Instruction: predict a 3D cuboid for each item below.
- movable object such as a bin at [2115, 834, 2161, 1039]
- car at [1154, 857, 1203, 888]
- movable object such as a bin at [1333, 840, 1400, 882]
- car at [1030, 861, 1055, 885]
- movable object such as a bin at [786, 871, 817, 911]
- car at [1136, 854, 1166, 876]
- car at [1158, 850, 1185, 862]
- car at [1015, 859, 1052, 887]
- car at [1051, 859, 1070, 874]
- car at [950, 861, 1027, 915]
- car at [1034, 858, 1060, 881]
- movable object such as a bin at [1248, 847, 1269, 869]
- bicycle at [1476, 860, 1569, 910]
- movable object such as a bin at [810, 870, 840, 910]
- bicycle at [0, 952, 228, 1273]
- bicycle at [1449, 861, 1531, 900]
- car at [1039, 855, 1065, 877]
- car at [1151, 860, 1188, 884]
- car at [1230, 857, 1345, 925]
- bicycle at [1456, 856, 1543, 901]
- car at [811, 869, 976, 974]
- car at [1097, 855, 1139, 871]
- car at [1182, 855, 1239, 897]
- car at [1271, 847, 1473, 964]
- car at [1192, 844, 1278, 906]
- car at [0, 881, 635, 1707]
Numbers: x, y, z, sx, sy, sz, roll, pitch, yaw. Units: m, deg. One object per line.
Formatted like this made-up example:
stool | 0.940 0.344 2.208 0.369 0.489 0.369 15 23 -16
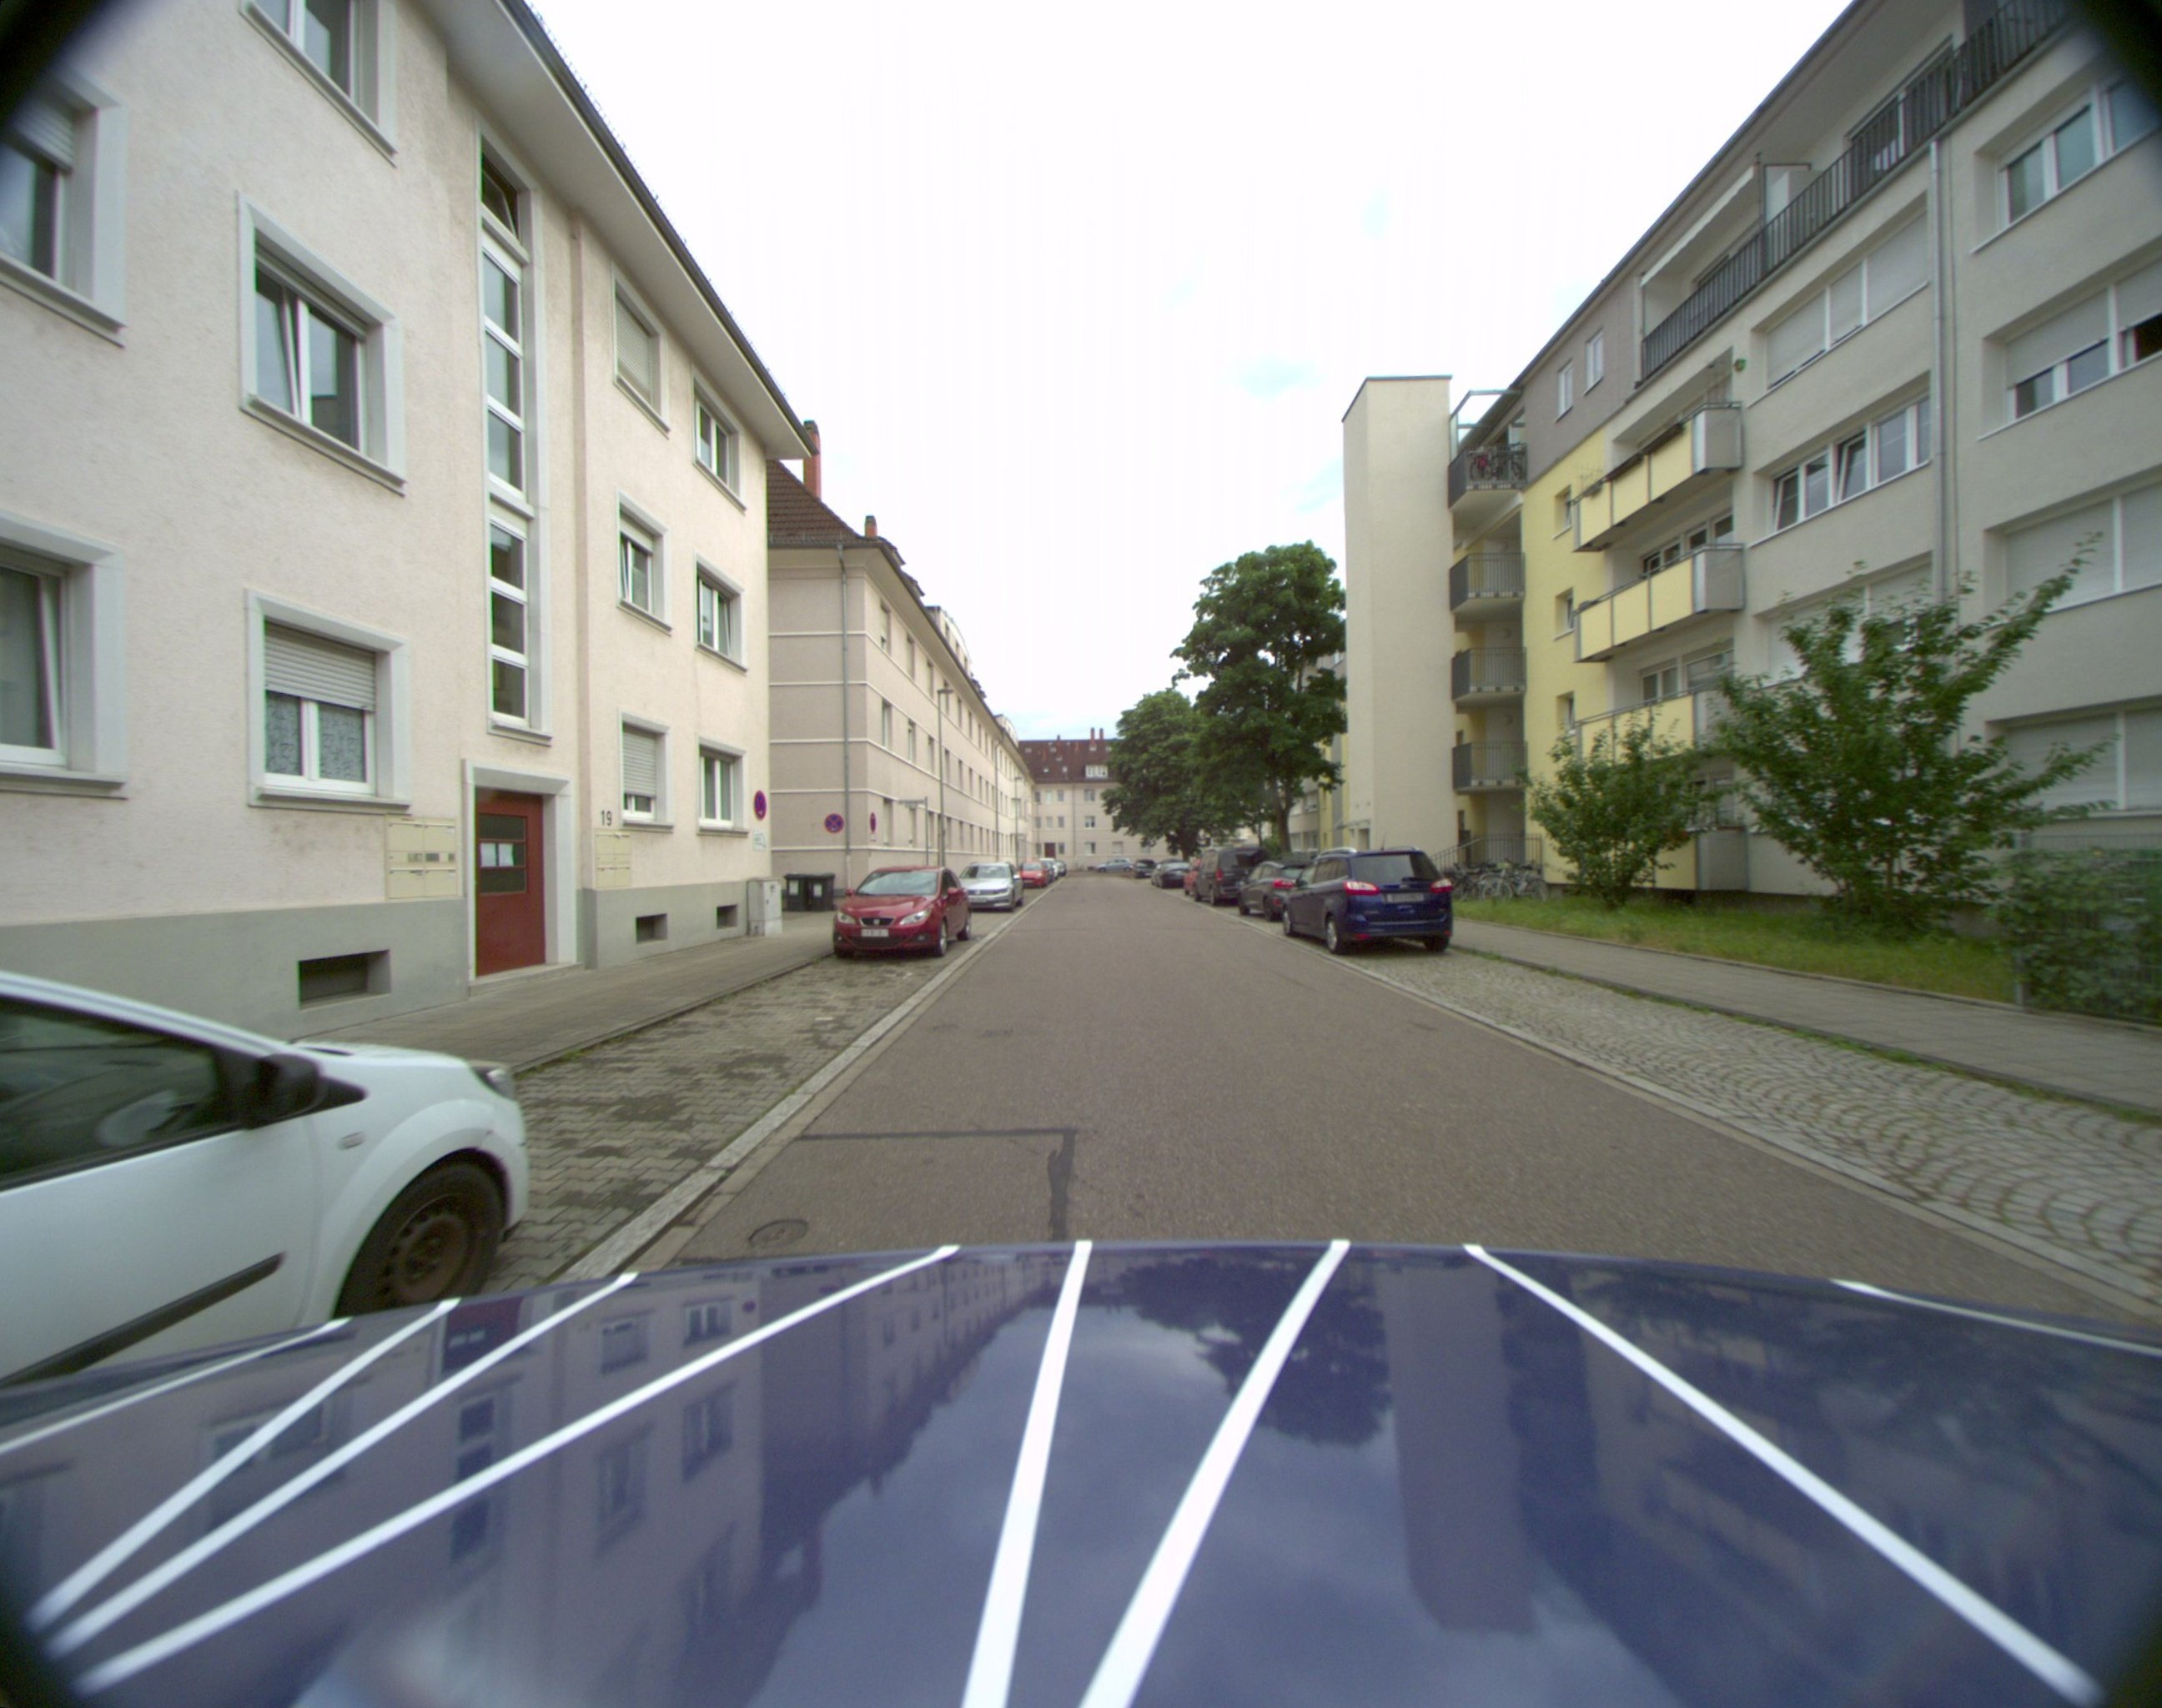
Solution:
movable object such as a bin | 8.380 0.594 5.121 1.004 1.492 1.314 -2 1 1
car | 5.168 0.940 40.804 1.919 1.431 4.434 -4 0 -1
movable object such as a bin | 11.043 0.248 29.513 1.617 1.515 2.541 -1 0 0
car | -2.400 1.187 47.909 1.353 1.404 3.310 -1 0 1
movable object such as a bin | -7.611 1.008 20.701 0.549 1.036 0.705 -1 1 3
car | 5.520 0.875 60.679 2.000 1.566 4.209 -4 0 1
car | 9.993 0.227 83.922 2.930 1.277 1.353 -2 1 4
car | -2.587 1.014 42.165 1.758 1.477 3.773 -1 0 1
car | -1.819 1.112 69.382 1.563 1.334 3.788 -1 0 1
car | -2.699 0.959 23.067 1.792 1.455 4.040 -1 0 1
car | -2.379 1.089 53.213 1.587 1.500 3.486 -1 0 1
movable object such as a bin | 11.824 0.252 50.685 1.184 1.468 0.889 -1 1 4
bicycle | 10.753 0.742 18.523 1.857 1.130 0.716 -1 0 -2
movable object such as a bin | -7.018 0.980 20.861 0.549 1.036 0.705 -1 1 3
bicycle | -4.482 1.054 2.640 0.607 1.133 2.125 -1 0 0
bicycle | 11.178 0.713 20.809 1.855 1.014 0.671 -1 0 7
car | -2.233 0.930 58.969 1.764 1.595 3.956 -1 0 1
car | 5.328 1.039 46.170 1.765 1.257 4.209 -4 0 1
car | 5.055 0.844 19.091 1.625 1.437 3.818 -3 0 -3
bicycle | 11.048 0.642 20.108 1.855 1.130 0.717 -1 0 7
car | -2.965 1.003 12.898 1.758 1.401 3.936 -1 0 1
car | 4.122 0.995 83.951 4.545 1.551 1.565 -1 1 5
car | 5.196 0.851 30.942 1.625 1.559 3.613 -1 0 -1
car | 4.814 0.749 13.341 1.804 1.617 4.472 -3 0 1
car | 5.063 0.653 25.648 1.891 1.844 4.785 -2 0 0
car | -2.841 0.928 1.306 1.788 1.590 3.805 -1 0 2
